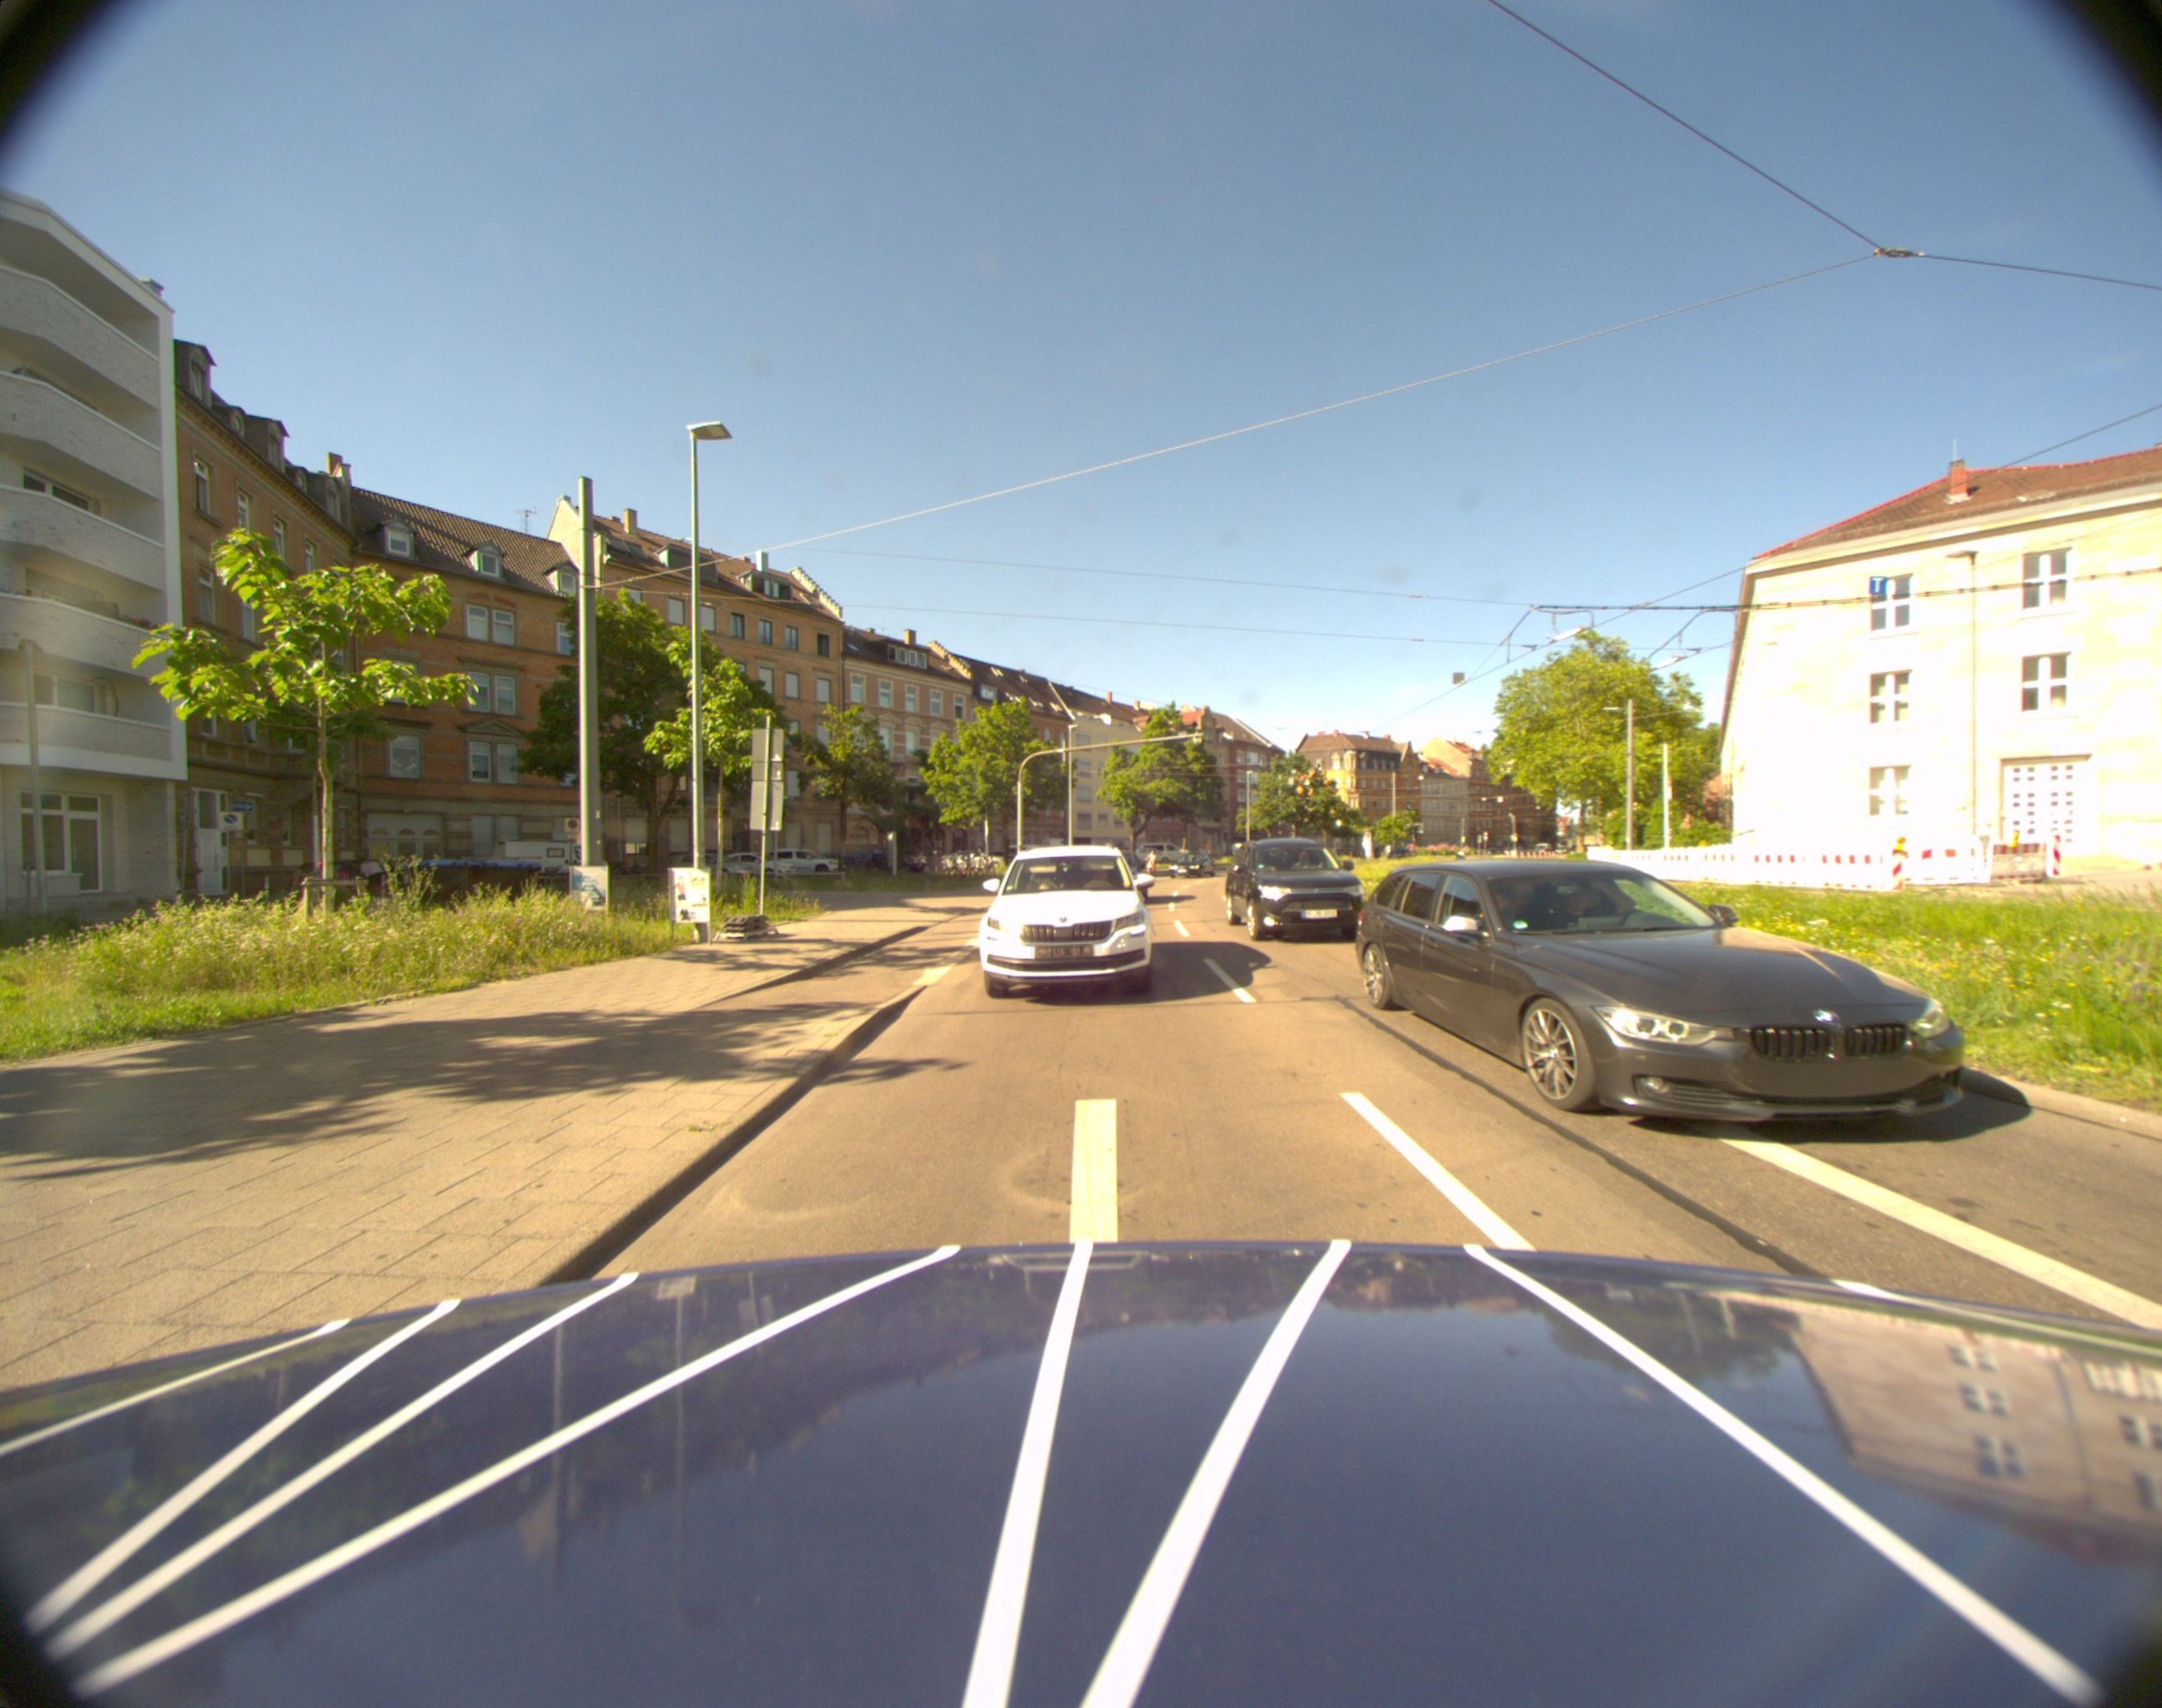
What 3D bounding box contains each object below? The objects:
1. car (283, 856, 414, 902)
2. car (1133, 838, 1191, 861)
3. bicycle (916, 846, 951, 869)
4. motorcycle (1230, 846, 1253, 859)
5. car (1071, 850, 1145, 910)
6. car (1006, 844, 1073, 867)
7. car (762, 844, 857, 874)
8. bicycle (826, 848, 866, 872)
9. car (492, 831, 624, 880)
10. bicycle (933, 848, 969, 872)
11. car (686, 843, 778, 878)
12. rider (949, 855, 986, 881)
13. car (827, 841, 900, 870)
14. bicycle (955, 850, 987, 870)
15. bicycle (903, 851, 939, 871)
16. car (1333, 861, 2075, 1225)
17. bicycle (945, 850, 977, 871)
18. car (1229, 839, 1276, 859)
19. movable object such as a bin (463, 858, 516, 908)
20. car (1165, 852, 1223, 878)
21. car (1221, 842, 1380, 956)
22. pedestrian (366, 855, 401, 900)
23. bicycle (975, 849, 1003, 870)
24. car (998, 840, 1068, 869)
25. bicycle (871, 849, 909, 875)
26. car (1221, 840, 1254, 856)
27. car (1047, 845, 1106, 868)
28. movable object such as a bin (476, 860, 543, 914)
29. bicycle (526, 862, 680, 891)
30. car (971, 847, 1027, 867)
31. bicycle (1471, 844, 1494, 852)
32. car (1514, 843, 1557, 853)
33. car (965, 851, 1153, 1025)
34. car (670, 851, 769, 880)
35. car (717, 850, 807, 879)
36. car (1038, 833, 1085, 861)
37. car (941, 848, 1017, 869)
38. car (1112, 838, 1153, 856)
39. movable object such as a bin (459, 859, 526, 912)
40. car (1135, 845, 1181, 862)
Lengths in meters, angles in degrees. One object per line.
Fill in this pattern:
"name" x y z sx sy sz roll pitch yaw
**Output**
"car" -25.757 0.813 26.921 2.002 1.428 4.099 -2 1 -24
"car" 7.588 -0.437 70.910 5.179 2.002 2.102 1 2 10
"bicycle" -8.899 0.235 45.897 2.094 1.357 0.789 -1 1 34
"motorcycle" 17.360 -0.193 82.422 2.262 1.412 0.854 0 1 -10
"car" 0.828 0.702 22.791 1.998 1.608 4.264 -1 1 3
"car" -3.194 0.106 59.259 4.872 1.639 2.102 1 2 10
"car" -14.734 0.245 41.353 4.464 1.556 1.939 -1 1 8
"bicycle" -14.053 0.354 45.498 2.099 1.357 0.787 -1 1 -2
"car" -26.942 0.053 39.315 2.349 2.344 5.199 2 1 40
"bicycle" -7.560 0.346 44.145 2.094 1.357 0.789 0 1 34
"car" -21.427 0.363 46.832 1.994 1.966 4.734 2 1 39
"rider" -5.486 0.670 36.709 1.678 1.169 0.502 -4 2 -34
"car" -15.434 0.068 54.208 1.994 1.966 4.734 2 1 38
"bicycle" -6.849 0.358 47.391 1.945 1.174 0.902 2 2 38
"bicycle" -9.547 0.421 45.202 2.163 1.151 0.824 -1 1 35
"car" 3.463 0.851 5.549 1.738 1.415 4.467 -4 0 1
"bicycle" -7.378 0.376 46.629 1.957 1.185 0.843 2 2 39
"car" 19.118 -0.583 84.827 4.875 2.063 2.021 1 1 4
"movable object such as a bin" -17.210 0.831 22.144 1.092 1.390 1.029 -1 1 -31
"car" 6.665 0.611 44.532 1.886 1.419 4.384 0 1 30
"car" 3.704 0.660 13.683 1.840 1.672 4.644 -2 0 5
"pedestrian" -24.818 0.833 27.040 0.641 1.568 0.773 0 2 39
"bicycle" -5.549 0.332 45.879 1.598 1.283 0.769 0 1 -11
"car" -3.529 -0.018 56.290 4.874 2.002 2.101 1 2 5
"bicycle" -10.863 0.452 43.193 2.094 1.390 0.789 -1 1 28
"car" 20.305 -0.830 98.731 1.997 1.464 4.497 -14 -5 41
"car" -0.341 0.181 61.264 4.505 1.718 2.001 1 2 10
"movable object such as a bin" -15.389 0.858 20.509 1.306 1.390 1.069 -1 1 -31
"bicycle" -21.516 0.968 34.439 2.676 1.120 5.232 -1 1 34
"car" -5.835 0.184 54.078 3.610 1.372 1.926 -1 1 5
"bicycle" 73.383 -1.126 138.916 1.964 1.408 6.841 1 2 43
"car" 64.827 -0.889 108.483 1.839 1.445 4.946 -1 2 -45
"car" -0.119 0.818 9.584 1.801 1.626 4.394 -1 1 3
"car" -17.567 0.535 36.984 4.049 1.329 1.841 -1 1 14
"car" -16.361 0.533 39.038 3.838 1.433 1.761 -1 1 8
"car" -1.814 -0.629 72.024 1.994 2.570 4.522 2 2 40
"car" -6.872 0.290 51.433 4.747 1.372 2.047 -1 1 5
"car" 5.532 -0.758 81.256 1.994 1.789 4.636 2 1 38
"movable object such as a bin" -16.388 0.846 21.201 1.323 1.390 1.108 -1 1 -31
"car" 6.916 -0.066 68.067 4.025 1.470 1.813 1 2 5
